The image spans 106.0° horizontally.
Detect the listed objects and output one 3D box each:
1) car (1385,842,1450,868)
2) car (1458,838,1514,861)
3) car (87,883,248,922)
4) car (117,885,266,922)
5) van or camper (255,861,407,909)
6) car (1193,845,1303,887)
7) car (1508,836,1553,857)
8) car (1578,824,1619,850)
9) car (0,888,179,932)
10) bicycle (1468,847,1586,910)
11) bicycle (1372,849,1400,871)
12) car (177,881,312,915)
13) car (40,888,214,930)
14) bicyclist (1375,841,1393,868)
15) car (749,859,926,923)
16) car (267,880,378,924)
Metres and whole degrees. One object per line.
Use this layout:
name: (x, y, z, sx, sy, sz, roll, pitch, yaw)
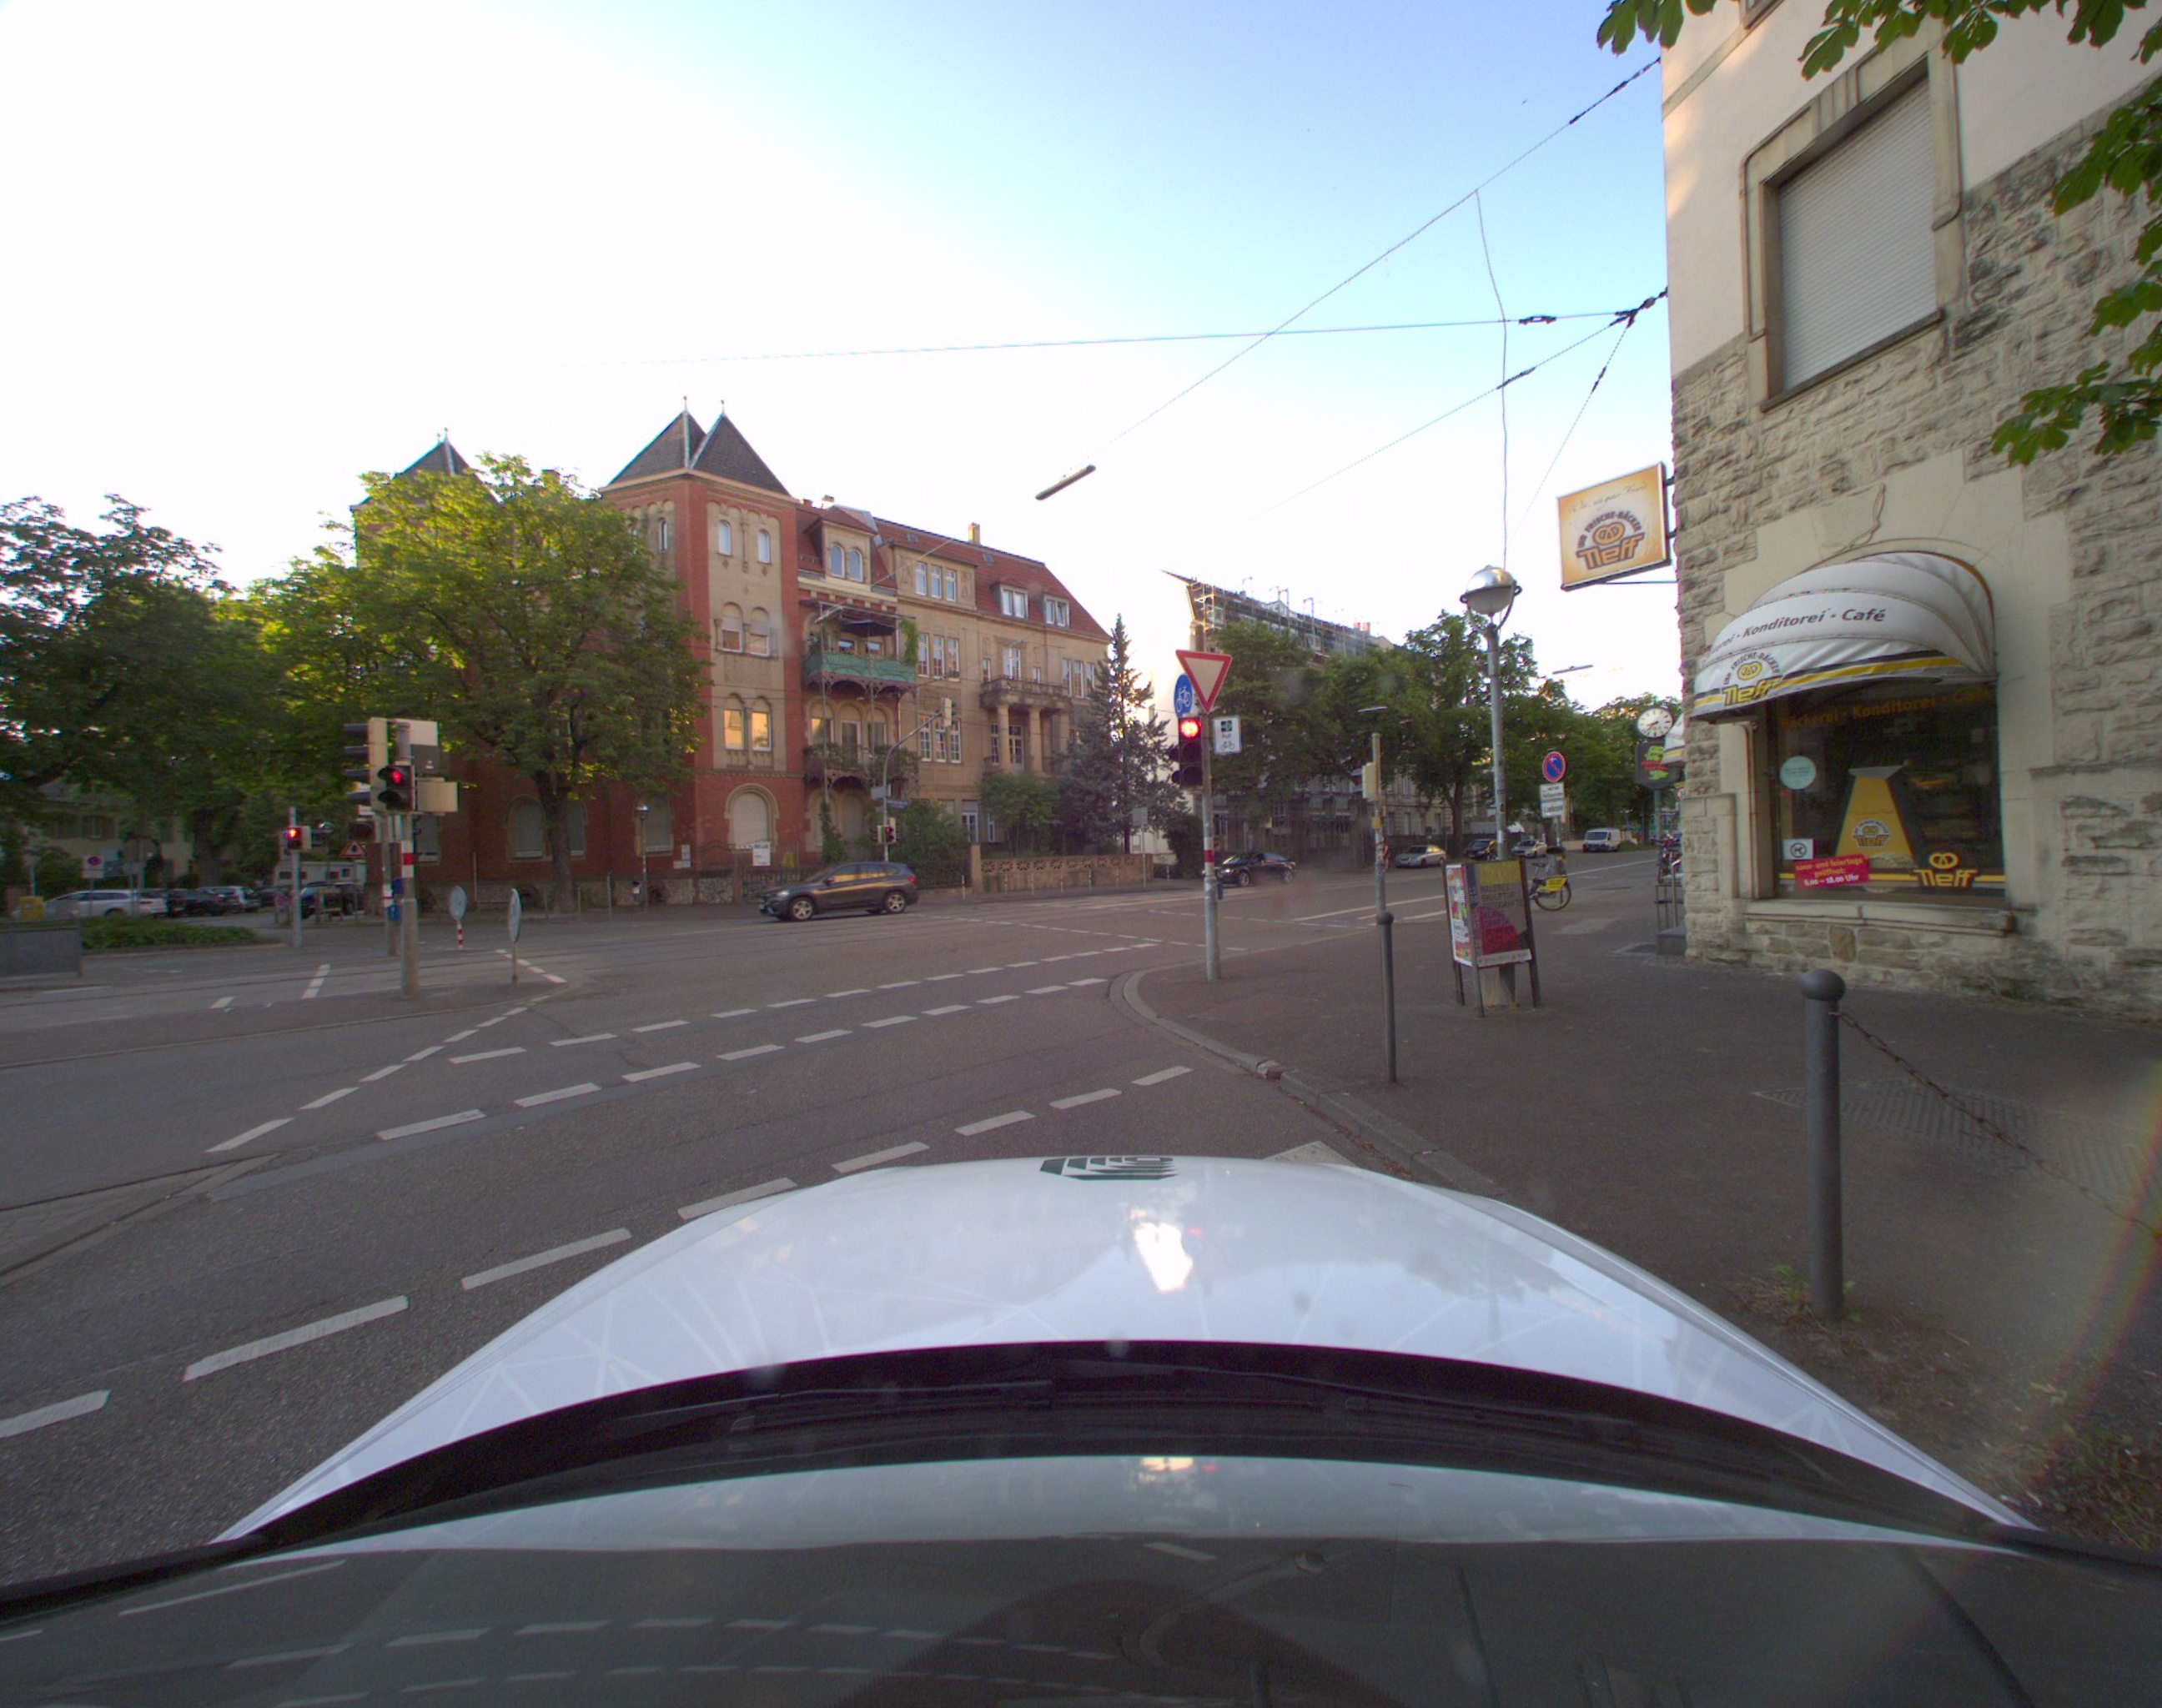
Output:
car: (21.194, 0.033, 51.231, 4.658, 1.426, 1.986, -2, 0, -42)
car: (28.934, -0.317, 58.088, 4.189, 1.482, 1.928, -2, 0, -38)
car: (-45.770, 2.406, 40.965, 4.974, 1.704, 1.984, -1, -1, -25)
car: (-47.376, 2.600, 43.552, 4.974, 1.704, 1.984, -1, -1, -25)
van or camper: (-52.770, 2.110, 57.579, 7.400, 3.083, 2.651, -1, -1, -25)
car: (7.020, 0.487, 34.054, 4.655, 1.510, 1.928, -2, 0, -38)
car: (35.592, -0.610, 64.475, 4.346, 1.482, 1.926, -2, 0, -45)
car: (48.995, -1.629, 77.021, 4.657, 2.316, 1.927, -2, 0, -41)
car: (-44.486, 2.475, 36.557, 4.974, 1.704, 1.984, -1, -1, -25)
bicycle: (8.658, 0.474, 15.899, 1.859, 1.130, 0.734, -2, 0, 12)
bicycle: (16.457, 0.324, 43.954, 1.614, 1.148, 0.549, -2, 0, -35)
car: (-47.695, 2.475, 46.571, 4.974, 1.704, 1.984, -1, -1, -25)
car: (-45.122, 2.556, 38.709, 4.974, 1.704, 1.984, -1, -1, -25)
bicyclist: (16.339, 0.007, 43.888, 0.739, 1.428, 0.549, -2, 0, -35)
car: (-6.940, 1.001, 23.431, 4.440, 1.510, 1.928, -2, 0, -37)
car: (-33.738, 2.071, 36.387, 2.001, 1.704, 4.686, -1, -1, -21)
